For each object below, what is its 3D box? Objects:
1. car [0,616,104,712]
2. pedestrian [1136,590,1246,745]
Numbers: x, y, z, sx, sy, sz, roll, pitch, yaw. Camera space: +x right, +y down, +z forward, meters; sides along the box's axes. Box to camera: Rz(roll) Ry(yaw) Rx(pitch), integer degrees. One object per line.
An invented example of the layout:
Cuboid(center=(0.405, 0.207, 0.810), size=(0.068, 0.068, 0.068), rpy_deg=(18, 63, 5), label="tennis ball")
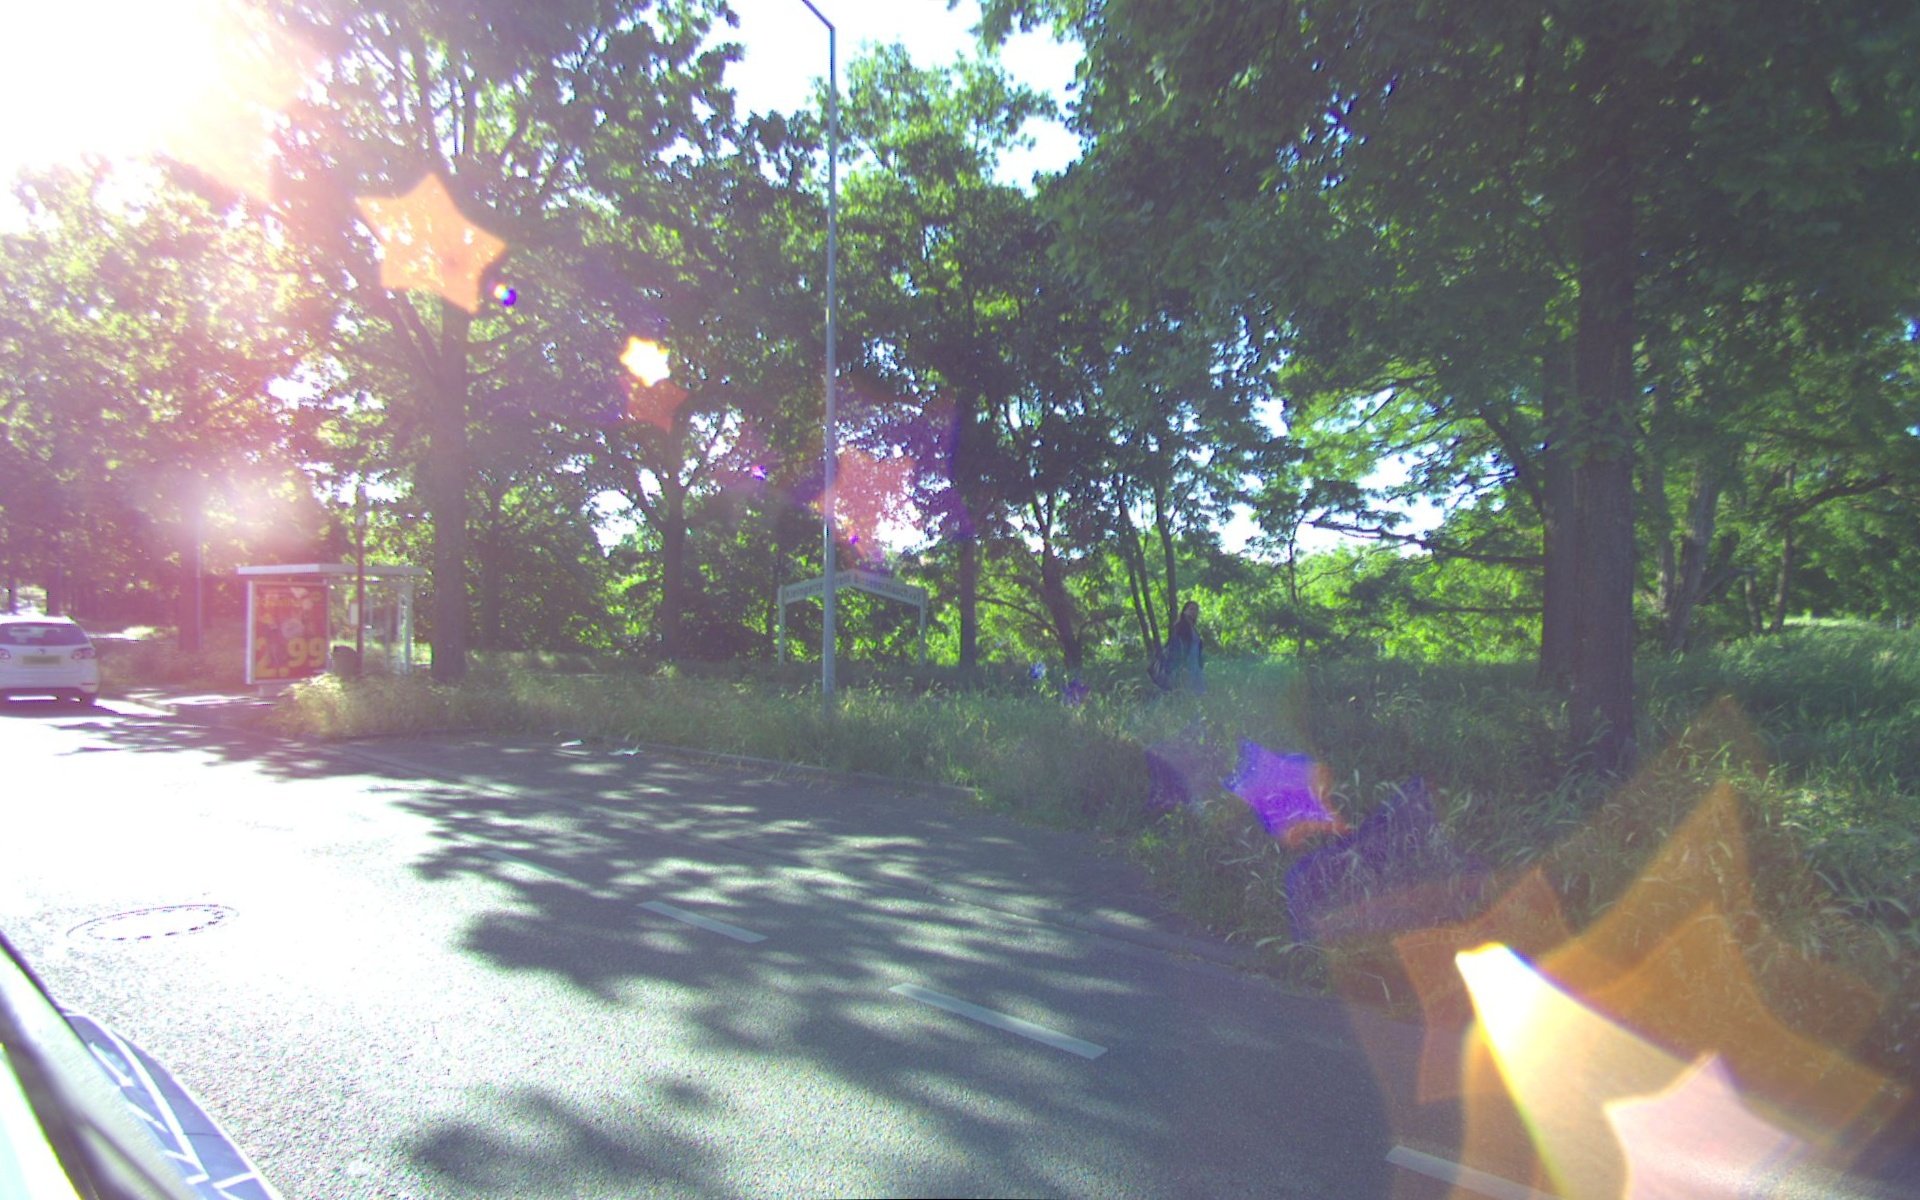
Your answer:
Cuboid(center=(-17.108, 1.133, 18.355), size=(4.117, 1.575, 1.734), rpy_deg=(-2, -4, 41), label="car")
Cuboid(center=(2.696, 0.752, 11.813), size=(0.891, 1.701, 0.903), rpy_deg=(-2, -1, 42), label="pedestrian")
